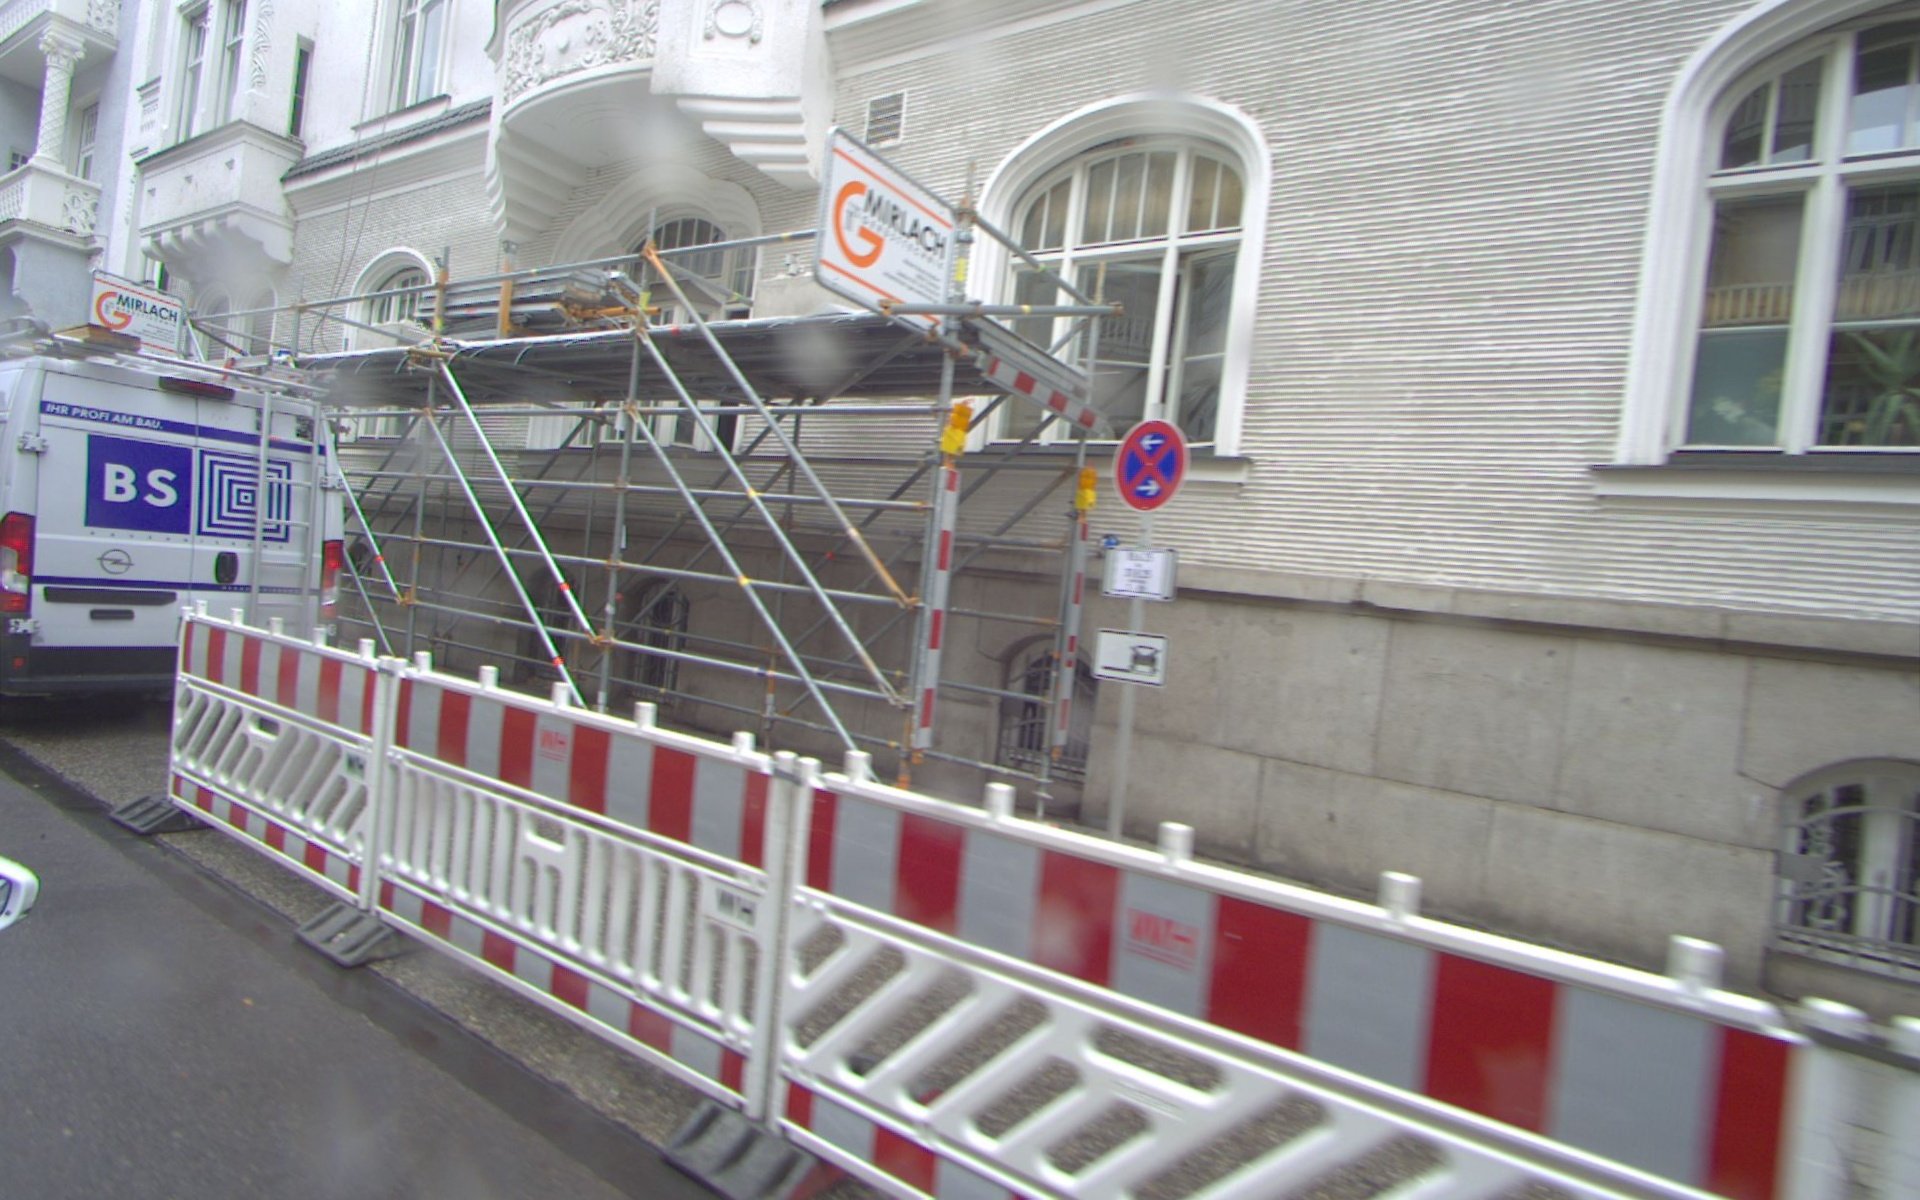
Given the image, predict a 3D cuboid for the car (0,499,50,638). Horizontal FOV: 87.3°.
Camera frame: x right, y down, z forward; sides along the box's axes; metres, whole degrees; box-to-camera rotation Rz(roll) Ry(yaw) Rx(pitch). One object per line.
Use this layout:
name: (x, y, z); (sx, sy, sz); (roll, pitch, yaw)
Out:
car: (-12.177, -0.567, 11.303); (4.019, 1.452, 1.756); (7, 0, 32)

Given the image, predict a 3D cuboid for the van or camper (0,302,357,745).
van or camper: (-7.495, -0.622, 8.304); (5.369, 2.669, 1.956); (6, 0, 33)
